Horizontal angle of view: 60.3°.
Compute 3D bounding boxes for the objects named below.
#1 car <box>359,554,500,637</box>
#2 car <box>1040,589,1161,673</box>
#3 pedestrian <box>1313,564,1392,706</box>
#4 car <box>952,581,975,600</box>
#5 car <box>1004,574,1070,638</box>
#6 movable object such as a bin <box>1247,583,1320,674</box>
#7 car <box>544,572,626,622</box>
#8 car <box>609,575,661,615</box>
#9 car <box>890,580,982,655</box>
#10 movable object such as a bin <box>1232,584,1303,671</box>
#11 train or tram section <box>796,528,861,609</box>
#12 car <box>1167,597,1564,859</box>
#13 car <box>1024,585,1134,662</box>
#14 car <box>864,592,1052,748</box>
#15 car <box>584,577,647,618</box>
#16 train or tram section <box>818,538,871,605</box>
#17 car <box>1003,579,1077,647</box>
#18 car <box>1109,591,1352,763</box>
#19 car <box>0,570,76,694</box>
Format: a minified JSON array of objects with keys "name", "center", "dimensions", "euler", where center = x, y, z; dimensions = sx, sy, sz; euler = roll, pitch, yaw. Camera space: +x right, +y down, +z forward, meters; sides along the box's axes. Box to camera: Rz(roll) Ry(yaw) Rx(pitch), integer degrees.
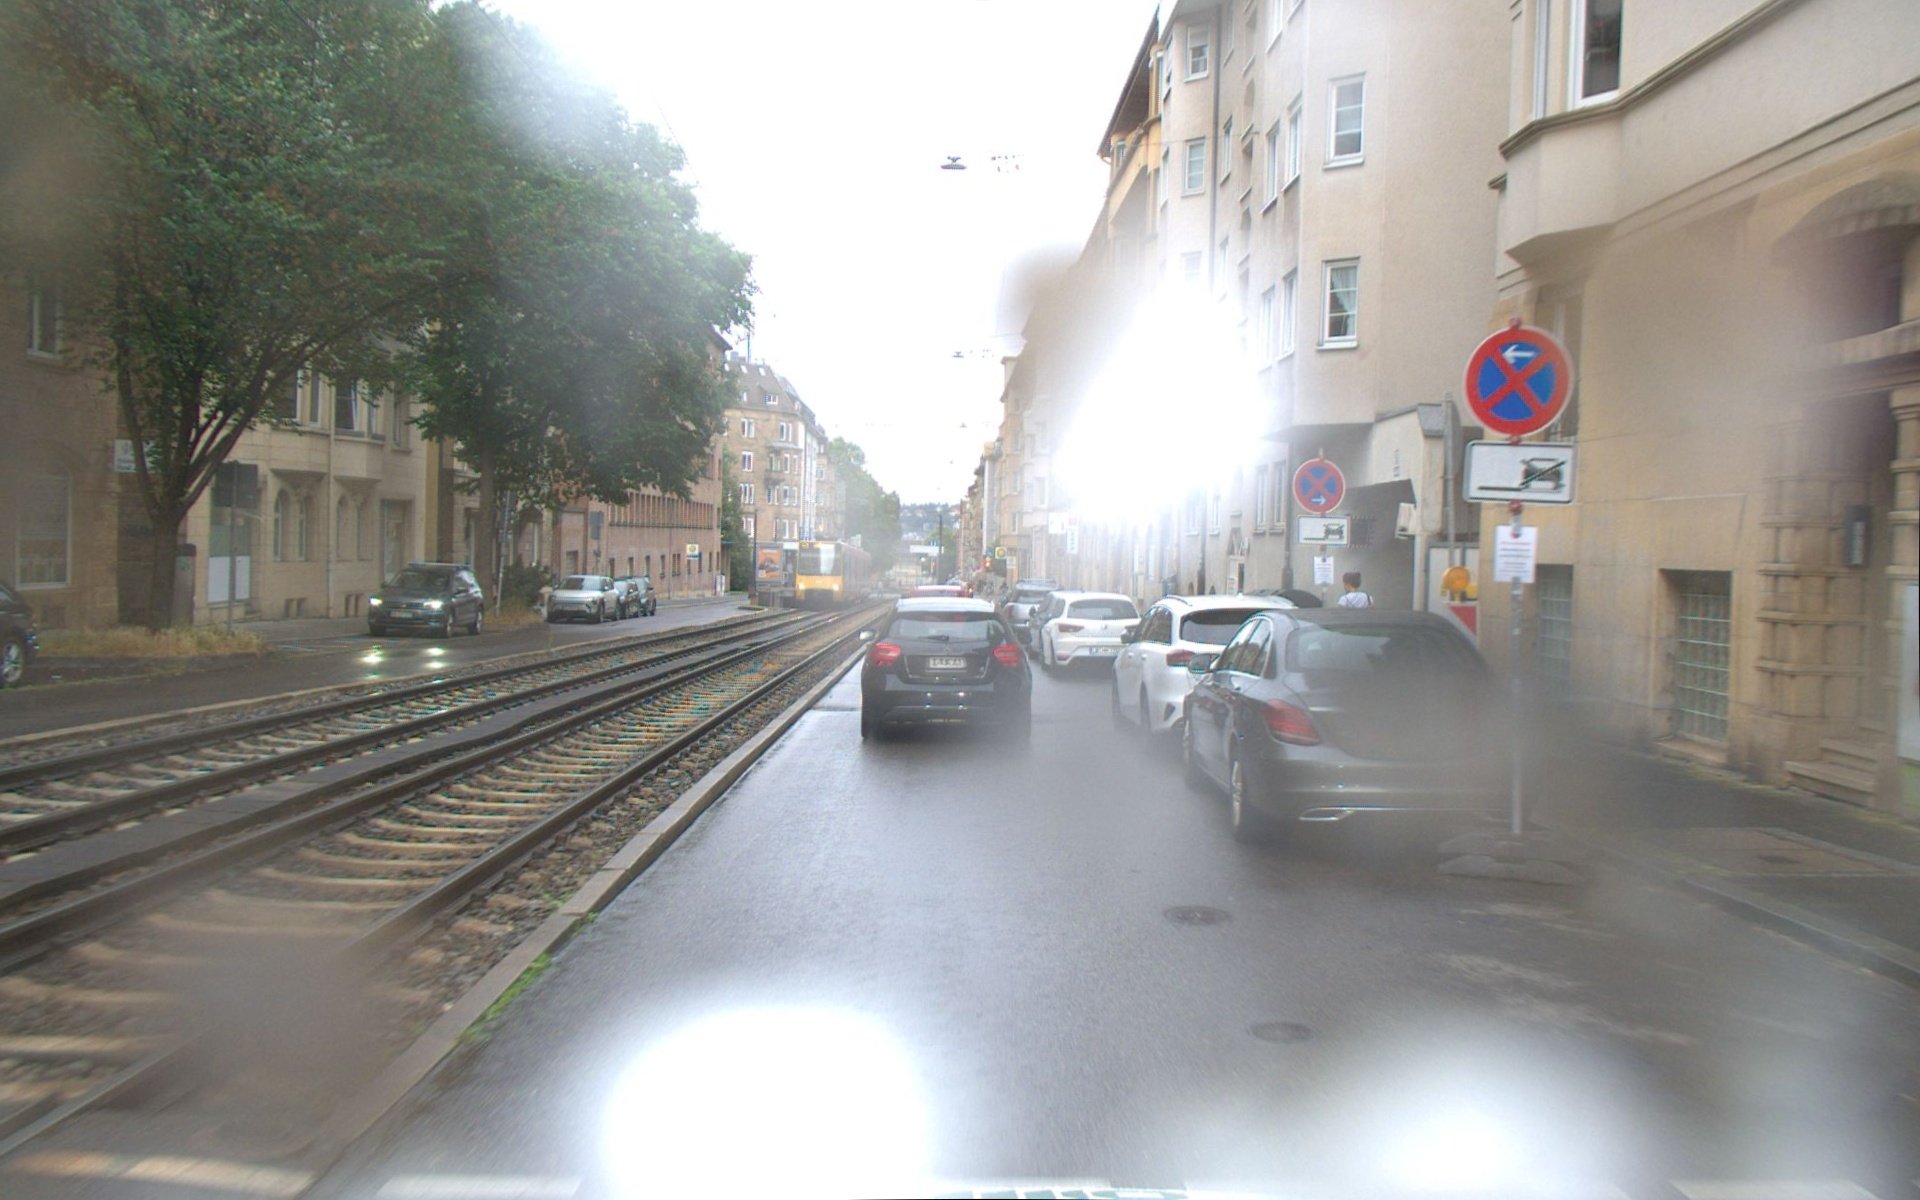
[{"name":"car","center":[-12.735,-0.138,40.038],"dimensions":[1.914,1.772,4.777],"euler":[4,1,-2]},{"name":"car","center":[2.469,0.526,29.984],"dimensions":[1.753,1.410,4.394],"euler":[0,0,-1]},{"name":"pedestrian","center":[4.847,0.431,20.458],"dimensions":[0.788,1.717,0.754],"euler":[0,0,-1]},{"name":"car","center":[0.337,-0.824,141.409],"dimensions":[1.848,1.552,4.246],"euler":[2,0,1]},{"name":"car","center":[2.209,0.167,48.633],"dimensions":[1.742,1.780,4.548],"euler":[0,0,0]},{"name":"movable object such as a bin","center":[5.427,0.470,27.805],"dimensions":[0.960,1.494,1.272],"euler":[0,0,-1]},{"name":"car","center":[-12.947,-0.137,57.304],"dimensions":[1.921,1.633,4.328],"euler":[2,1,-2]},{"name":"car","center":[-12.959,-0.211,66.126],"dimensions":[1.540,1.492,3.044],"euler":[2,1,-2]},{"name":"car","center":[-0.530,0.368,37.853],"dimensions":[1.953,1.552,4.245],"euler":[2,0,0]},{"name":"movable object such as a bin","center":[5.435,0.474,29.301],"dimensions":[0.997,1.494,1.322],"euler":[0,0,-1]},{"name":"train or tram section","center":[-7.298,-1.736,93.951],"dimensions":[2.690,4.132,17.210],"euler":[0,1,-1]},{"name":"car","center":[2.546,0.714,11.559],"dimensions":[1.675,1.435,4.818],"euler":[0,0,1]},{"name":"car","center":[2.419,0.461,34.654],"dimensions":[1.795,1.493,4.373],"euler":[0,0,-3]},{"name":"car","center":[-0.032,0.664,17.864],"dimensions":[1.797,1.478,3.901],"euler":[1,0,0]},{"name":"car","center":[-12.966,-0.128,62.362],"dimensions":[1.633,1.440,3.687],"euler":[2,1,-1]},{"name":"train or tram section","center":[-7.580,-1.853,110.308],"dimensions":[2.690,4.132,15.657],"euler":[0,1,-1]},{"name":"car","center":[2.011,0.313,42.571],"dimensions":[1.803,1.636,4.761],"euler":[0,0,2]},{"name":"car","center":[2.597,0.683,16.925],"dimensions":[1.677,1.493,4.773],"euler":[0,0,0]},{"name":"car","center":[-12.348,0.374,19.091],"dimensions":[1.745,1.485,4.976],"euler":[0,0,-2]}]
